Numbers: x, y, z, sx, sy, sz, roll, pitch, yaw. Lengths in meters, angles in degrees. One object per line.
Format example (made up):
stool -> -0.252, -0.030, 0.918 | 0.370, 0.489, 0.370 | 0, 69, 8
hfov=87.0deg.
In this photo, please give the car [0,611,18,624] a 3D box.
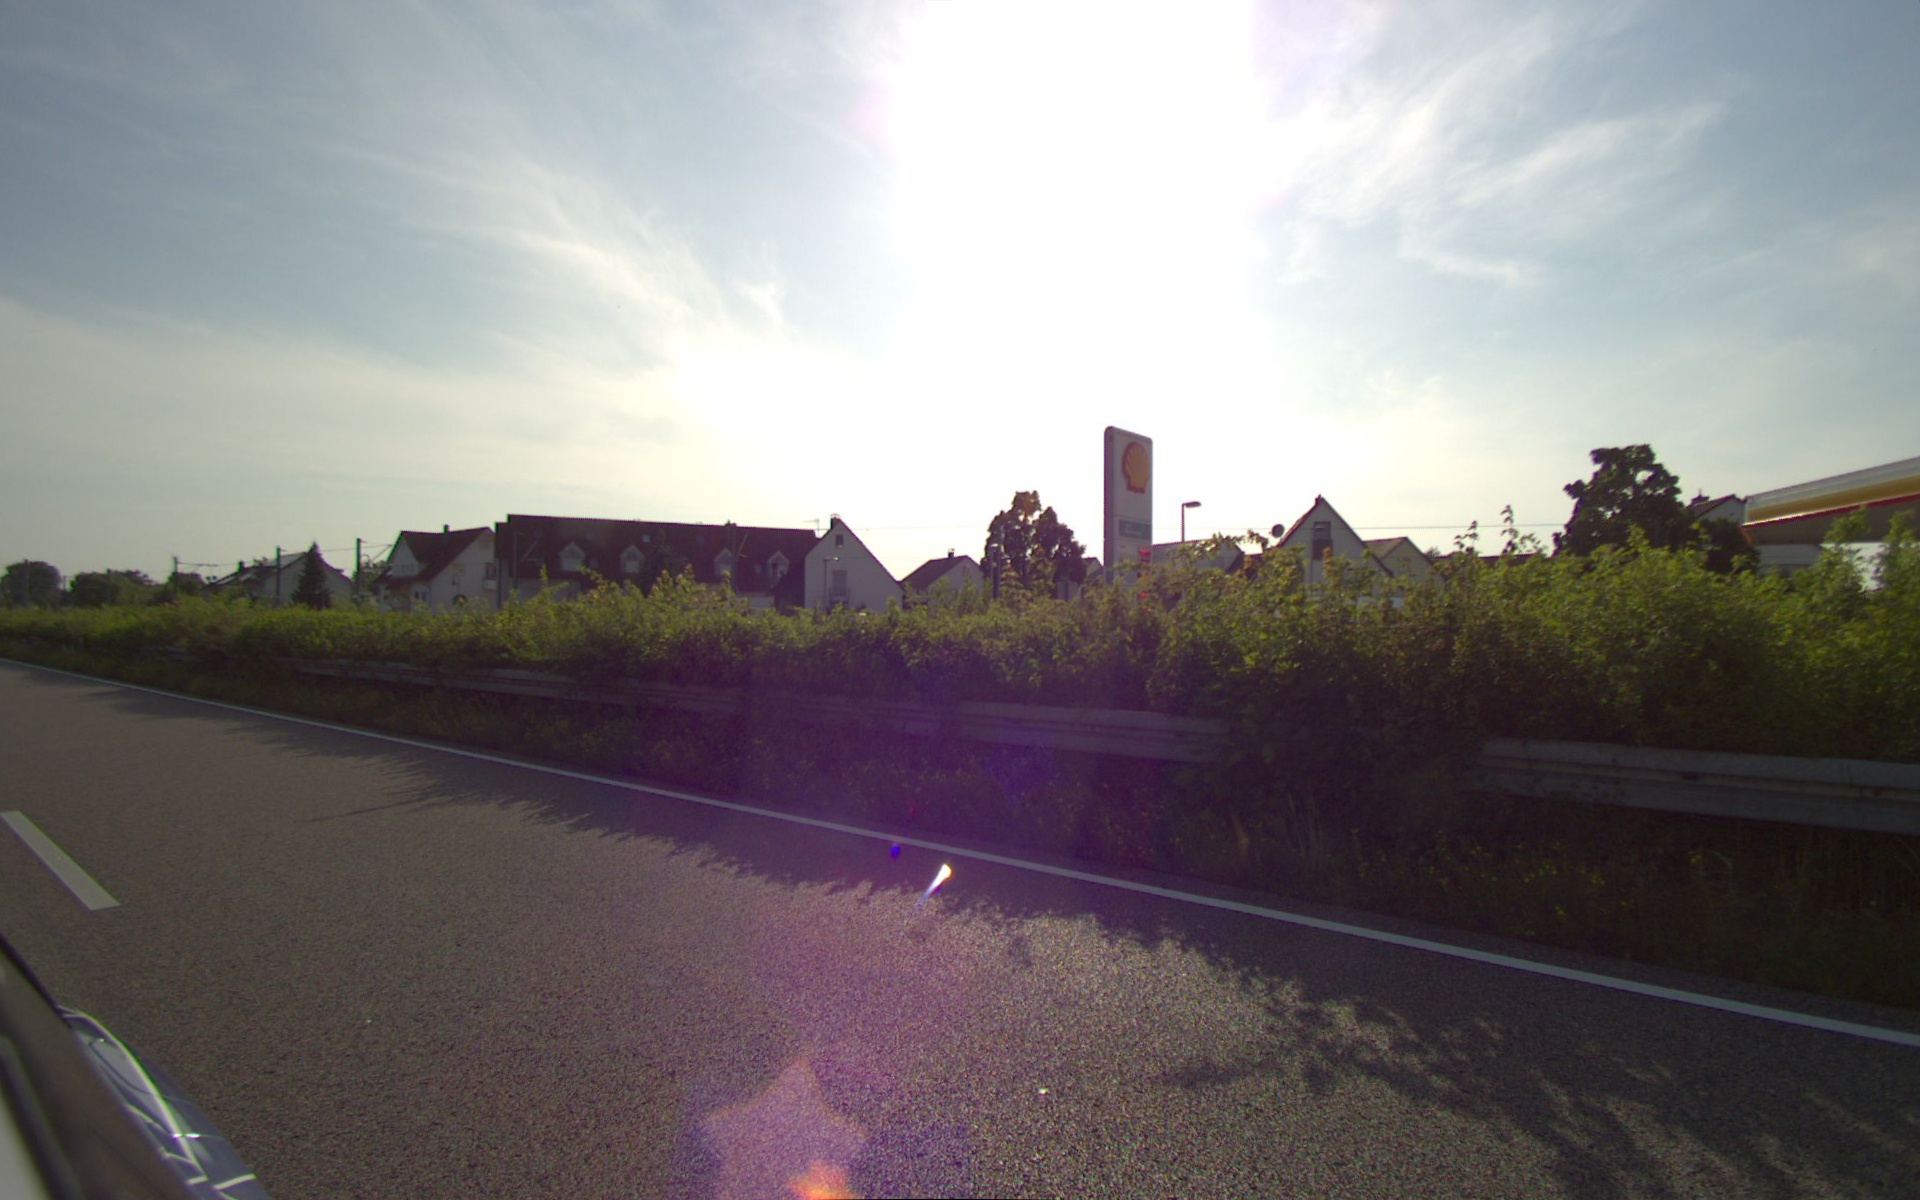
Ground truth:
car -> -130.447, 2.399, 138.431 | 3.998, 1.763, 1.973 | -1, 0, 41
